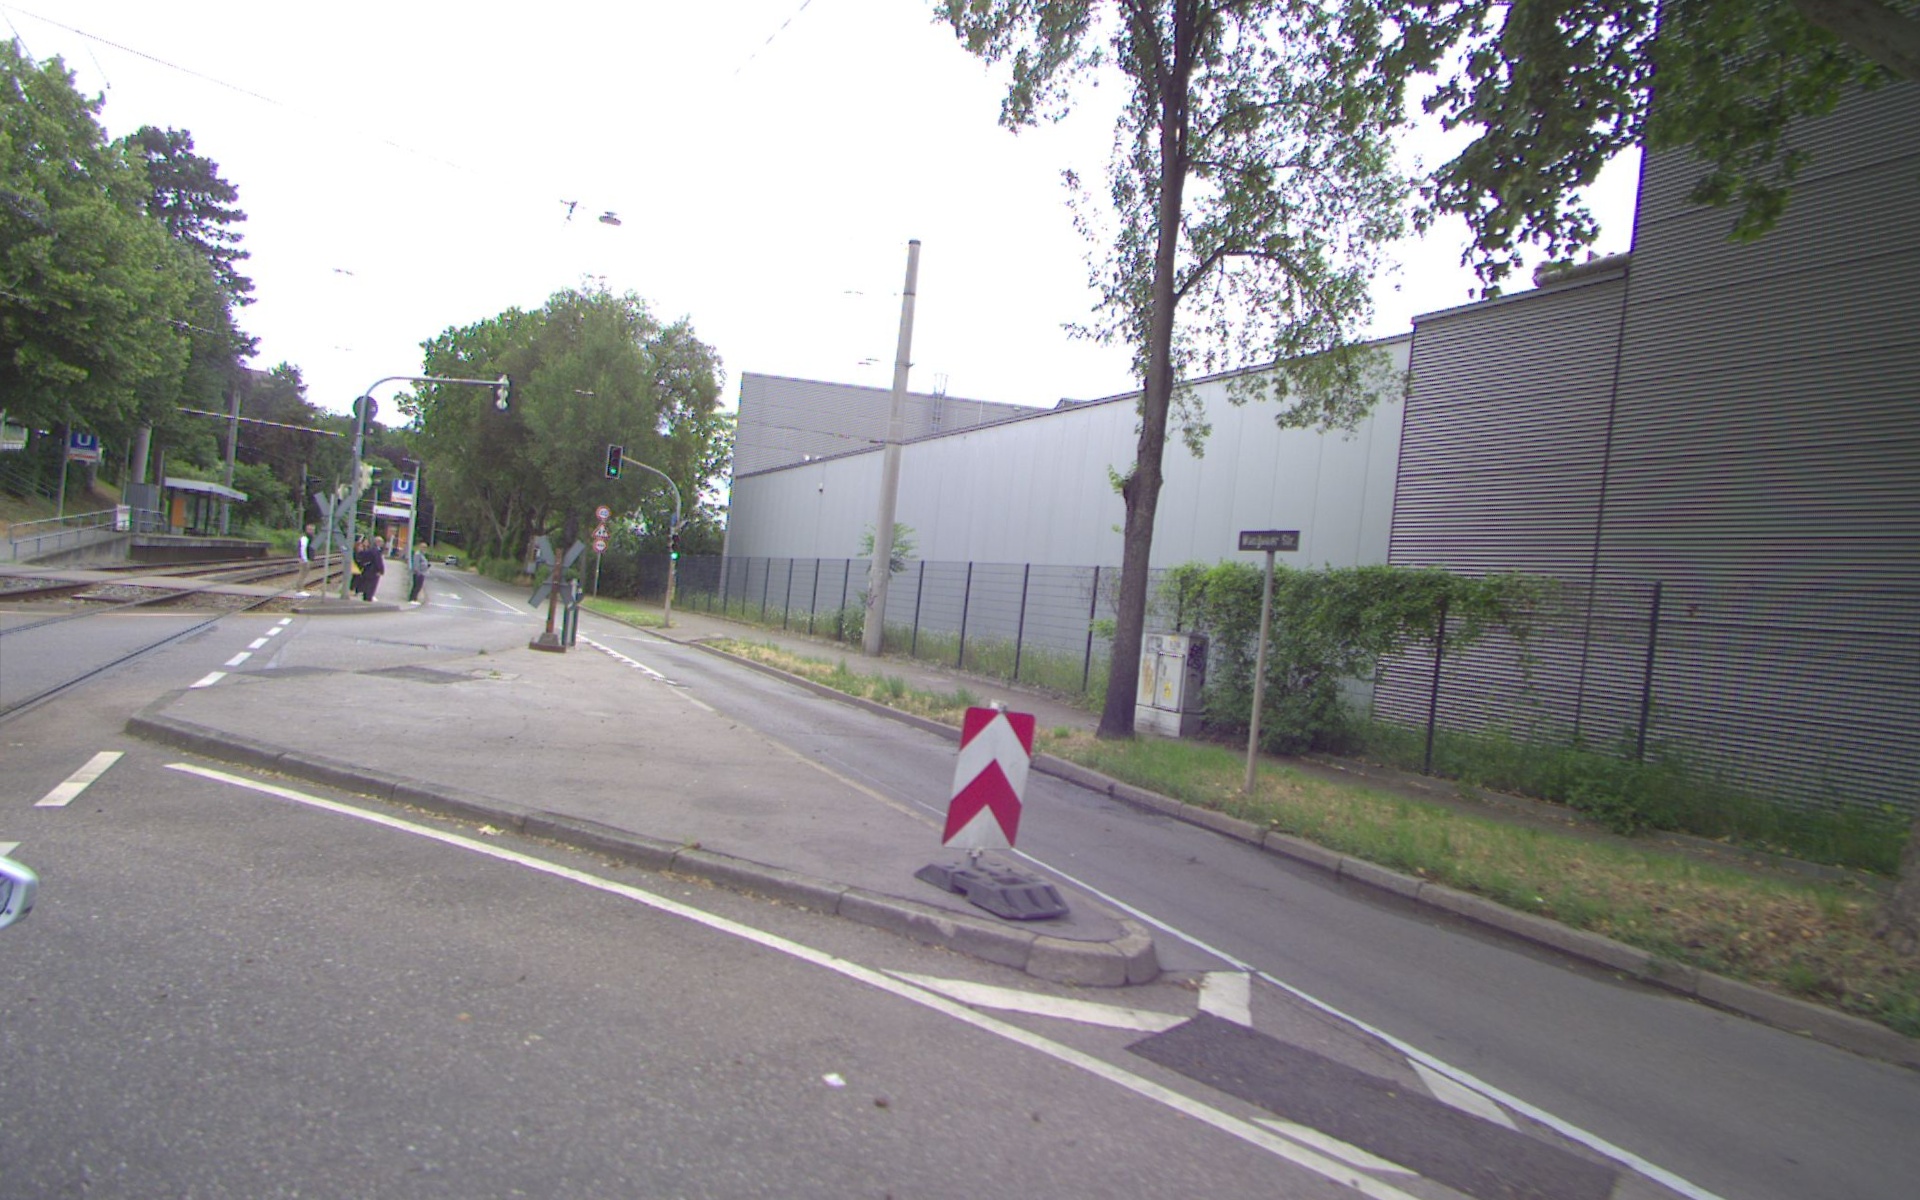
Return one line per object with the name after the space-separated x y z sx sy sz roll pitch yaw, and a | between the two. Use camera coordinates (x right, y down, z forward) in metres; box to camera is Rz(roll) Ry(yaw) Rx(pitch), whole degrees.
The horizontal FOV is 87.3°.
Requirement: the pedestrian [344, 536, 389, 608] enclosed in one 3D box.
-14.847 -0.696 25.184 0.729 1.684 0.677 9 -1 -28 | pedestrian

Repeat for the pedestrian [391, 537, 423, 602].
-15.909 -0.872 28.956 0.545 1.778 0.733 9 -1 -25 | pedestrian

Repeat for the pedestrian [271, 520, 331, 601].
-16.239 -0.972 24.791 0.659 1.842 0.804 8 -1 32 | pedestrian

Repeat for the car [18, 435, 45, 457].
-122.601 -20.295 132.882 1.985 2.170 3.959 10 -2 -38 | car

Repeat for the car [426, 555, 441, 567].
-86.014 -6.401 164.292 1.732 1.616 3.970 10 -2 -30 | car

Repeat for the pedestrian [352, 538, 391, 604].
-15.925 -0.791 27.210 0.675 1.684 0.731 9 -1 -32 | pedestrian

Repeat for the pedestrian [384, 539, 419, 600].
-16.418 -0.893 29.592 0.674 1.684 0.732 9 -1 -28 | pedestrian
